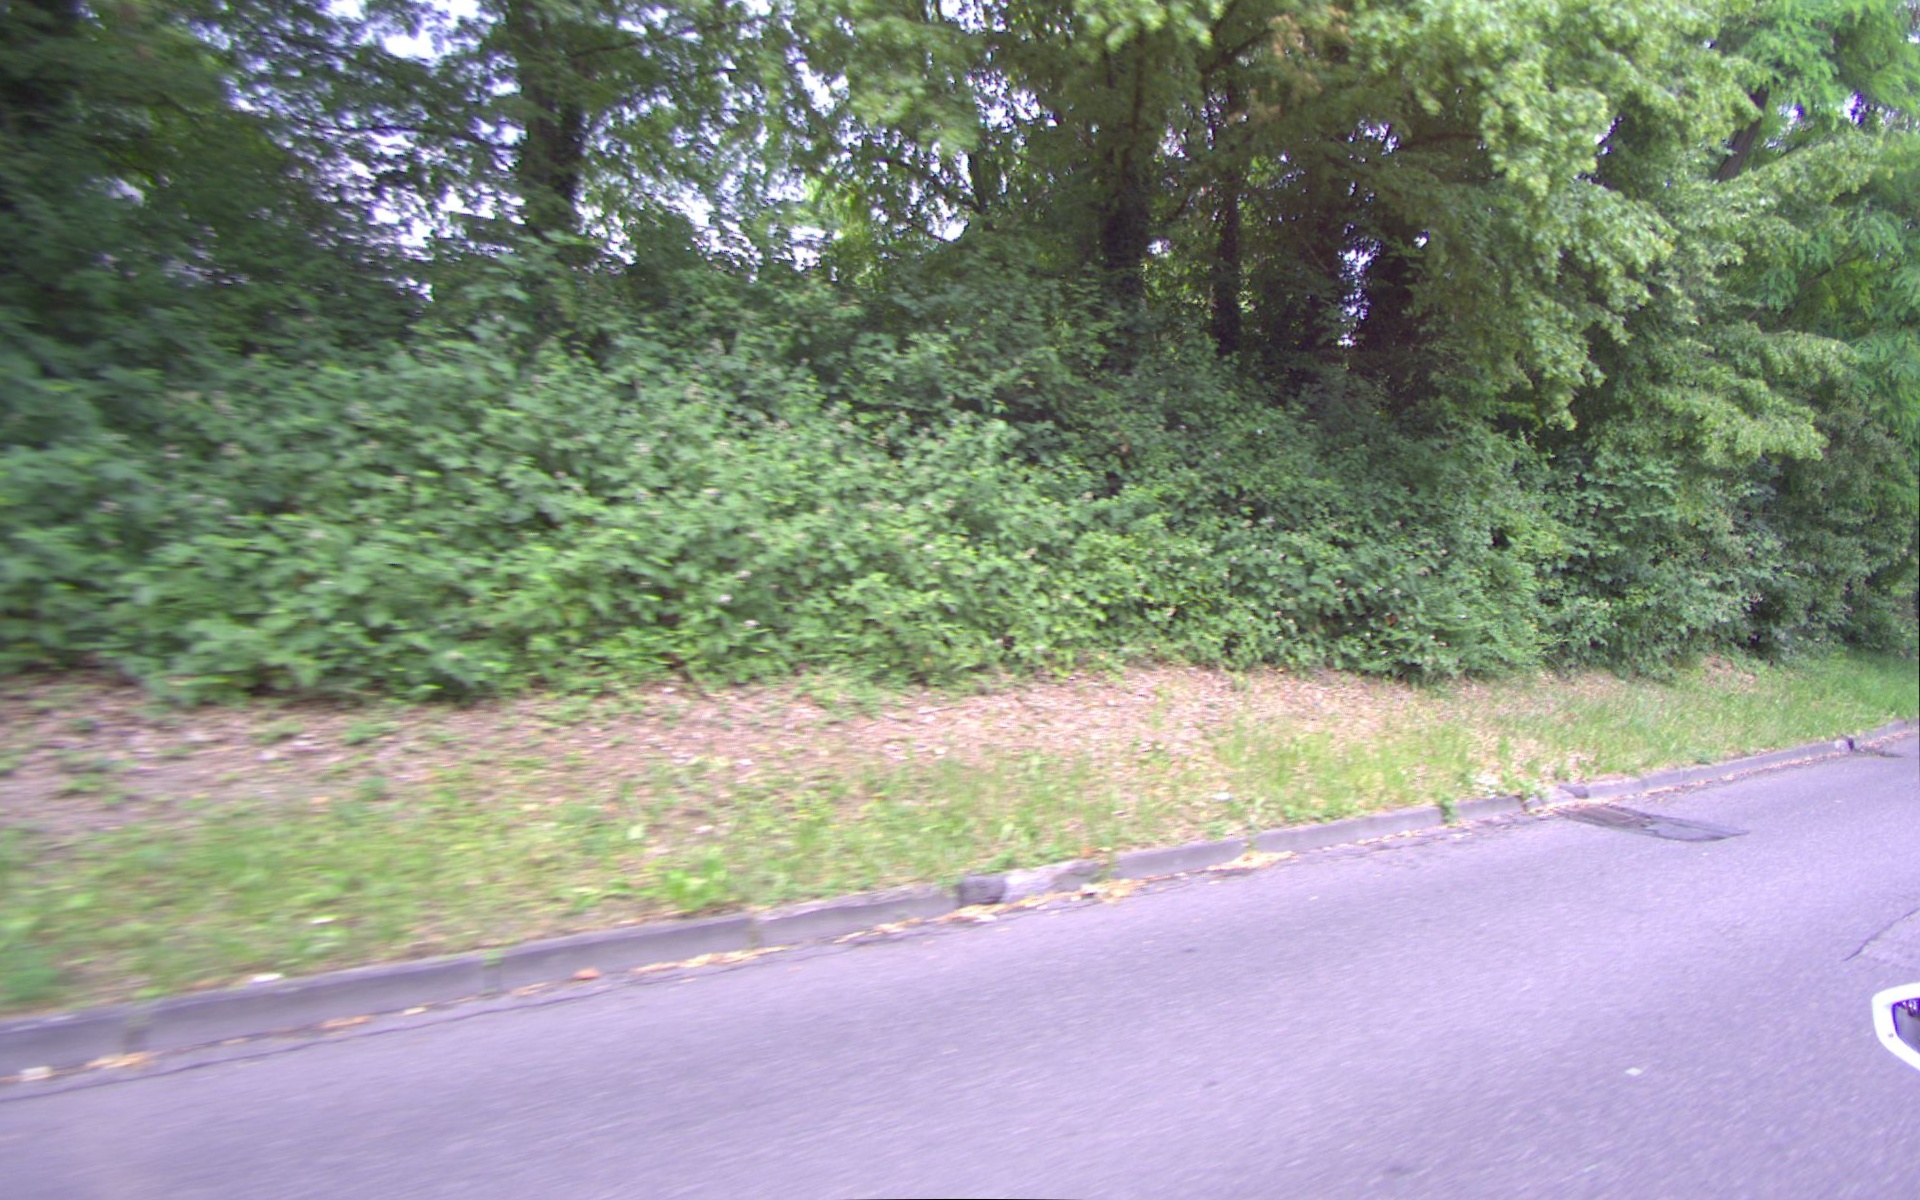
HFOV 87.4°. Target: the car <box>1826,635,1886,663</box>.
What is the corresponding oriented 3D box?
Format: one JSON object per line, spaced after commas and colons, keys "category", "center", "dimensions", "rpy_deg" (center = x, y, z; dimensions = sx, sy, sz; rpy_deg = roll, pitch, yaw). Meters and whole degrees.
{"category": "car", "center": [51.370, 2.776, 57.644], "dimensions": [1.786, 1.486, 3.992], "rpy_deg": [0, -1, 30]}
